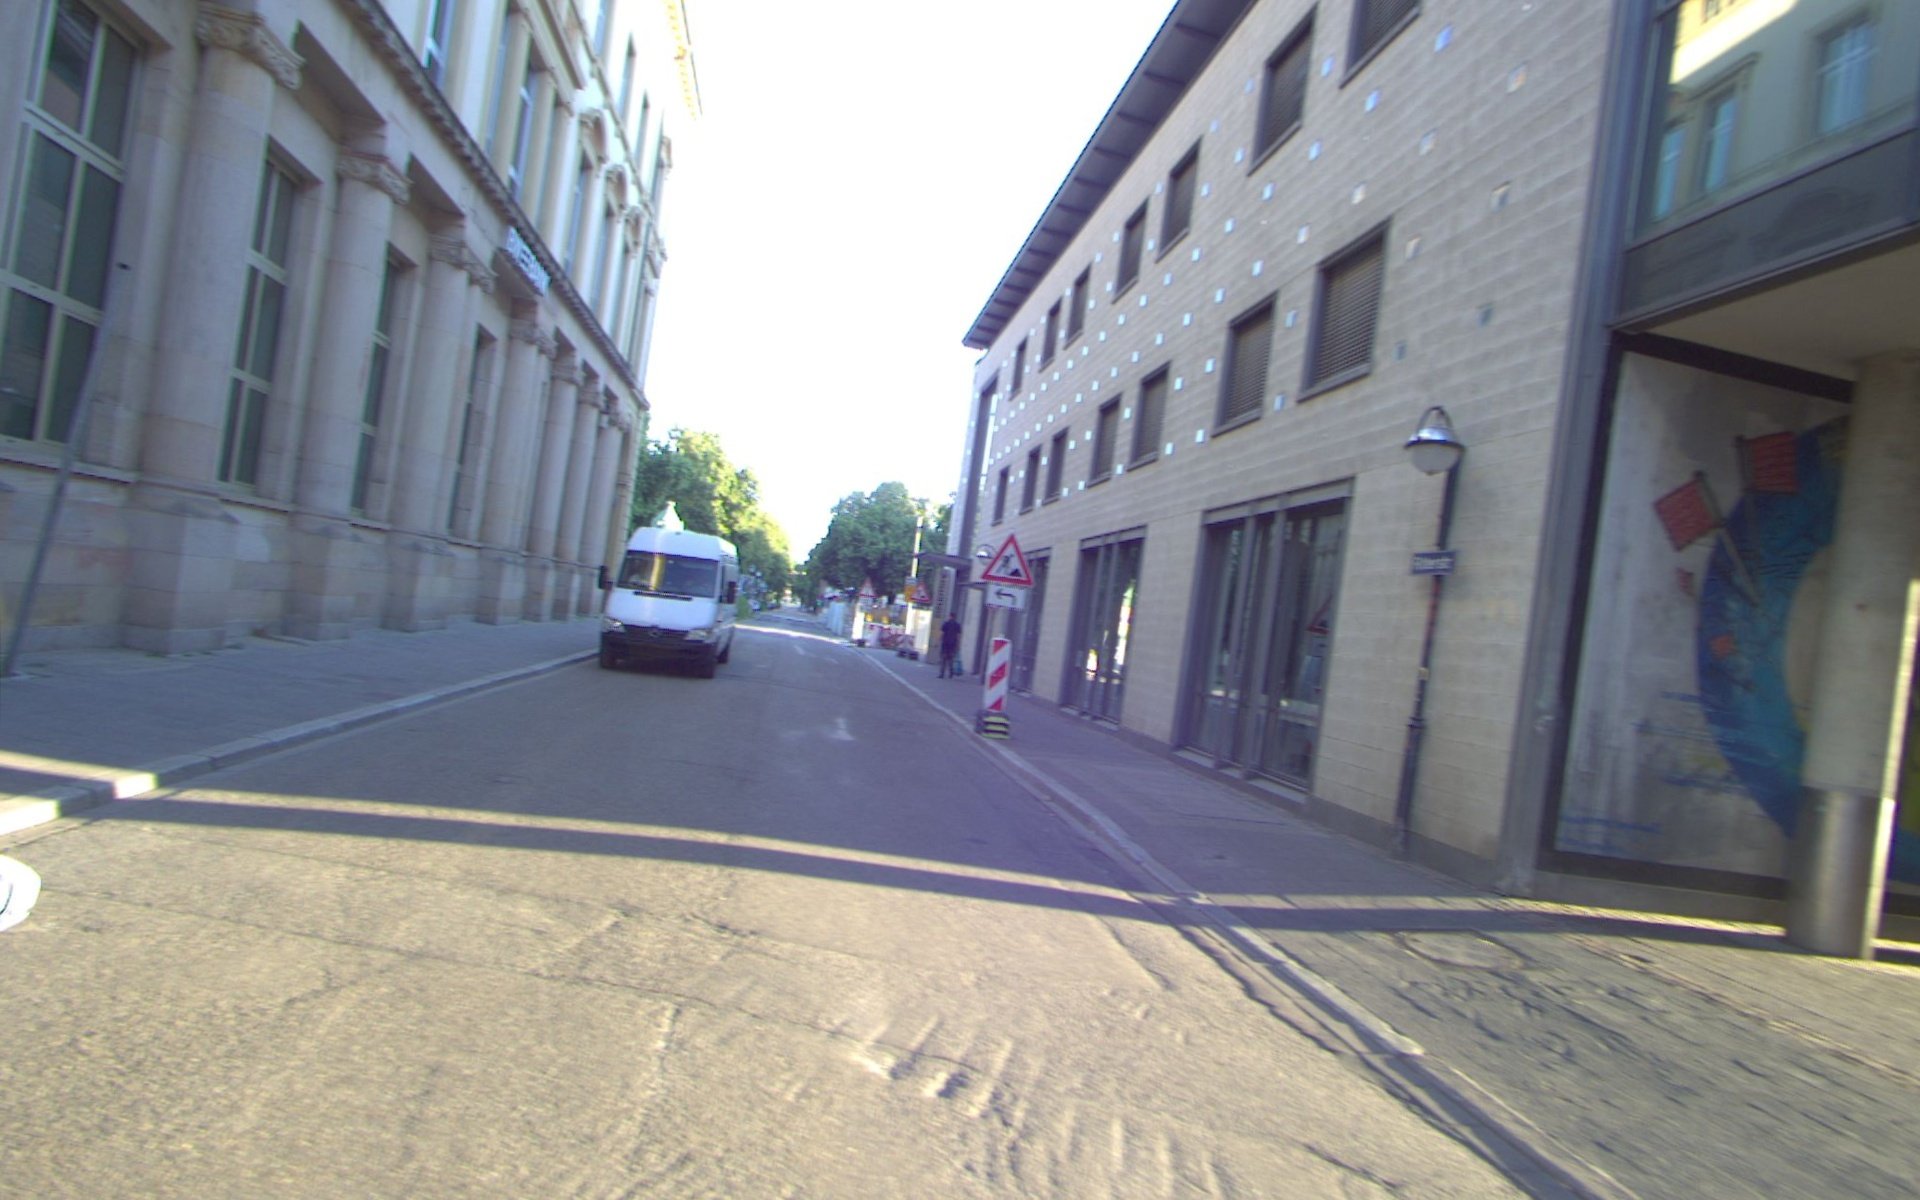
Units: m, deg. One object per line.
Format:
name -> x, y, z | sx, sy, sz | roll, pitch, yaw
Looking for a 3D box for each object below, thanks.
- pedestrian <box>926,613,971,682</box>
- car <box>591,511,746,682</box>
pedestrian -> -0.309, 1.282, 27.391 | 0.910, 1.723, 0.867 | 7, 0, -10
car -> -5.286, -0.040, 19.136 | 1.967, 2.543, 6.460 | 4, -1, -10
